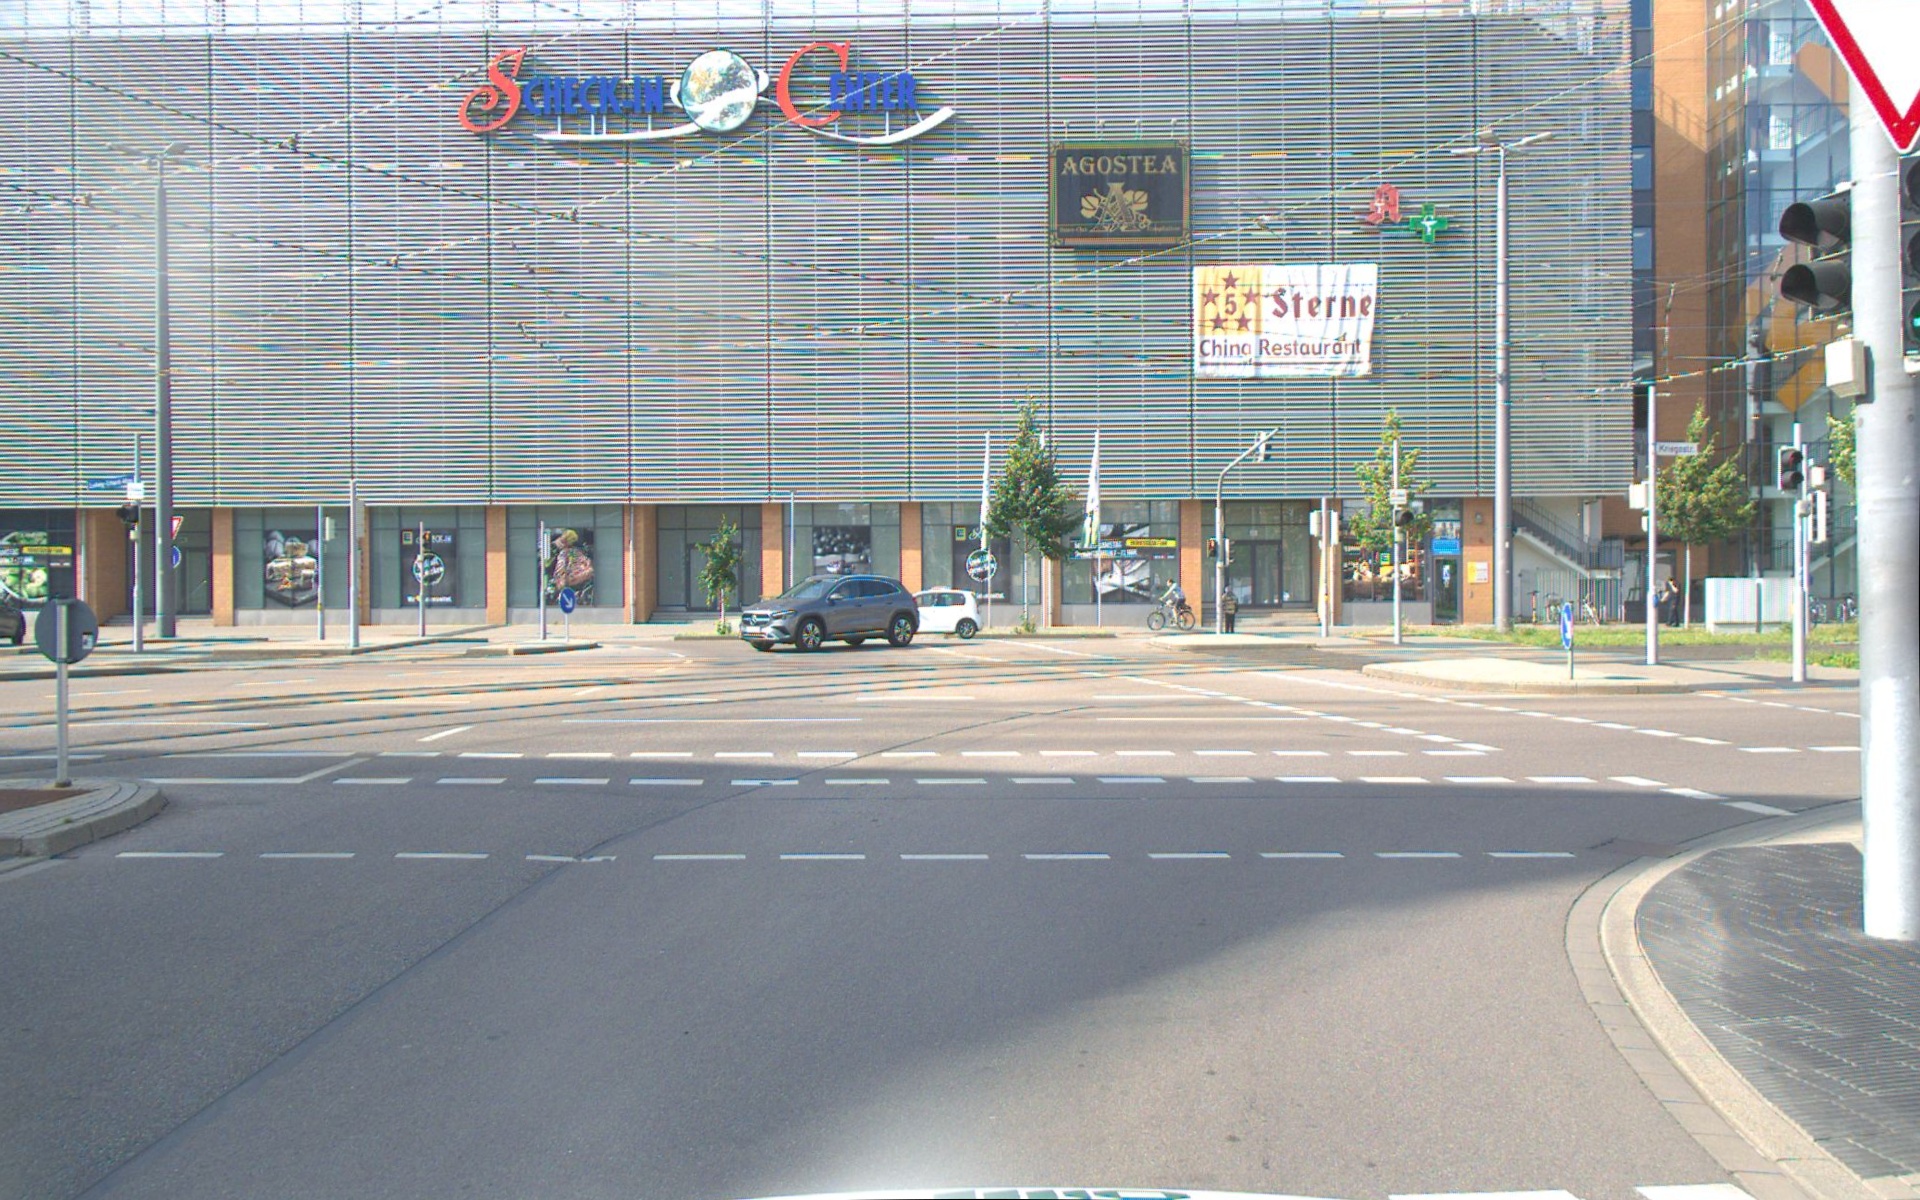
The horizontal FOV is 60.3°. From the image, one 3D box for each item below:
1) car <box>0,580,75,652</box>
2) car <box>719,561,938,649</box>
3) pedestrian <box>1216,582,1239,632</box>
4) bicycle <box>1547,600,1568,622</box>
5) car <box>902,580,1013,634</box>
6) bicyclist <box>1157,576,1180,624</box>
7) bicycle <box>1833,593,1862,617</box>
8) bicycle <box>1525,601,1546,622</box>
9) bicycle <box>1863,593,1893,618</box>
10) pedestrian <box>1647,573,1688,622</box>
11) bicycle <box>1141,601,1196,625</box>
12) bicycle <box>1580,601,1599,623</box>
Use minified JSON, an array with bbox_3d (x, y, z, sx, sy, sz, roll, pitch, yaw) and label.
[{"bbox_3d":[-23.709,0.376,40.230,1.951,1.725,4.003,0,0,5],"label":"car"},{"bbox_3d":[-2.864,0.132,36.808,1.923,1.814,4.780,1,0,45],"label":"car"},{"bbox_3d":[8.653,0.240,53.563,0.576,1.607,0.763,0,-1,-3],"label":"pedestrian"},{"bbox_3d":[21.761,0.396,60.281,0.441,0.765,1.006,-1,0,3],"label":"bicycle"},{"bbox_3d":[-0.067,0.196,50.696,3.321,1.587,1.744,1,1,0],"label":"car"},{"bbox_3d":[7.264,0.004,57.579,0.697,1.658,0.568,1,-1,0],"label":"bicyclist"},{"bbox_3d":[33.378,0.194,62.195,0.251,0.902,1.467,1,0,-2],"label":"bicycle"},{"bbox_3d":[20.990,0.413,60.322,0.441,0.765,1.006,-1,0,3],"label":"bicycle"},{"bbox_3d":[34.556,0.199,62.265,0.251,0.845,1.468,1,2,-2],"label":"bicycle"},{"bbox_3d":[25.599,-0.080,59.869,1.148,1.749,0.820,-1,0,1],"label":"pedestrian"},{"bbox_3d":[7.254,0.455,57.566,1.825,0.793,0.582,1,0,-3],"label":"bicycle"},{"bbox_3d":[22.924,0.426,60.240,0.352,0.765,1.024,-1,0,3],"label":"bicycle"}]
